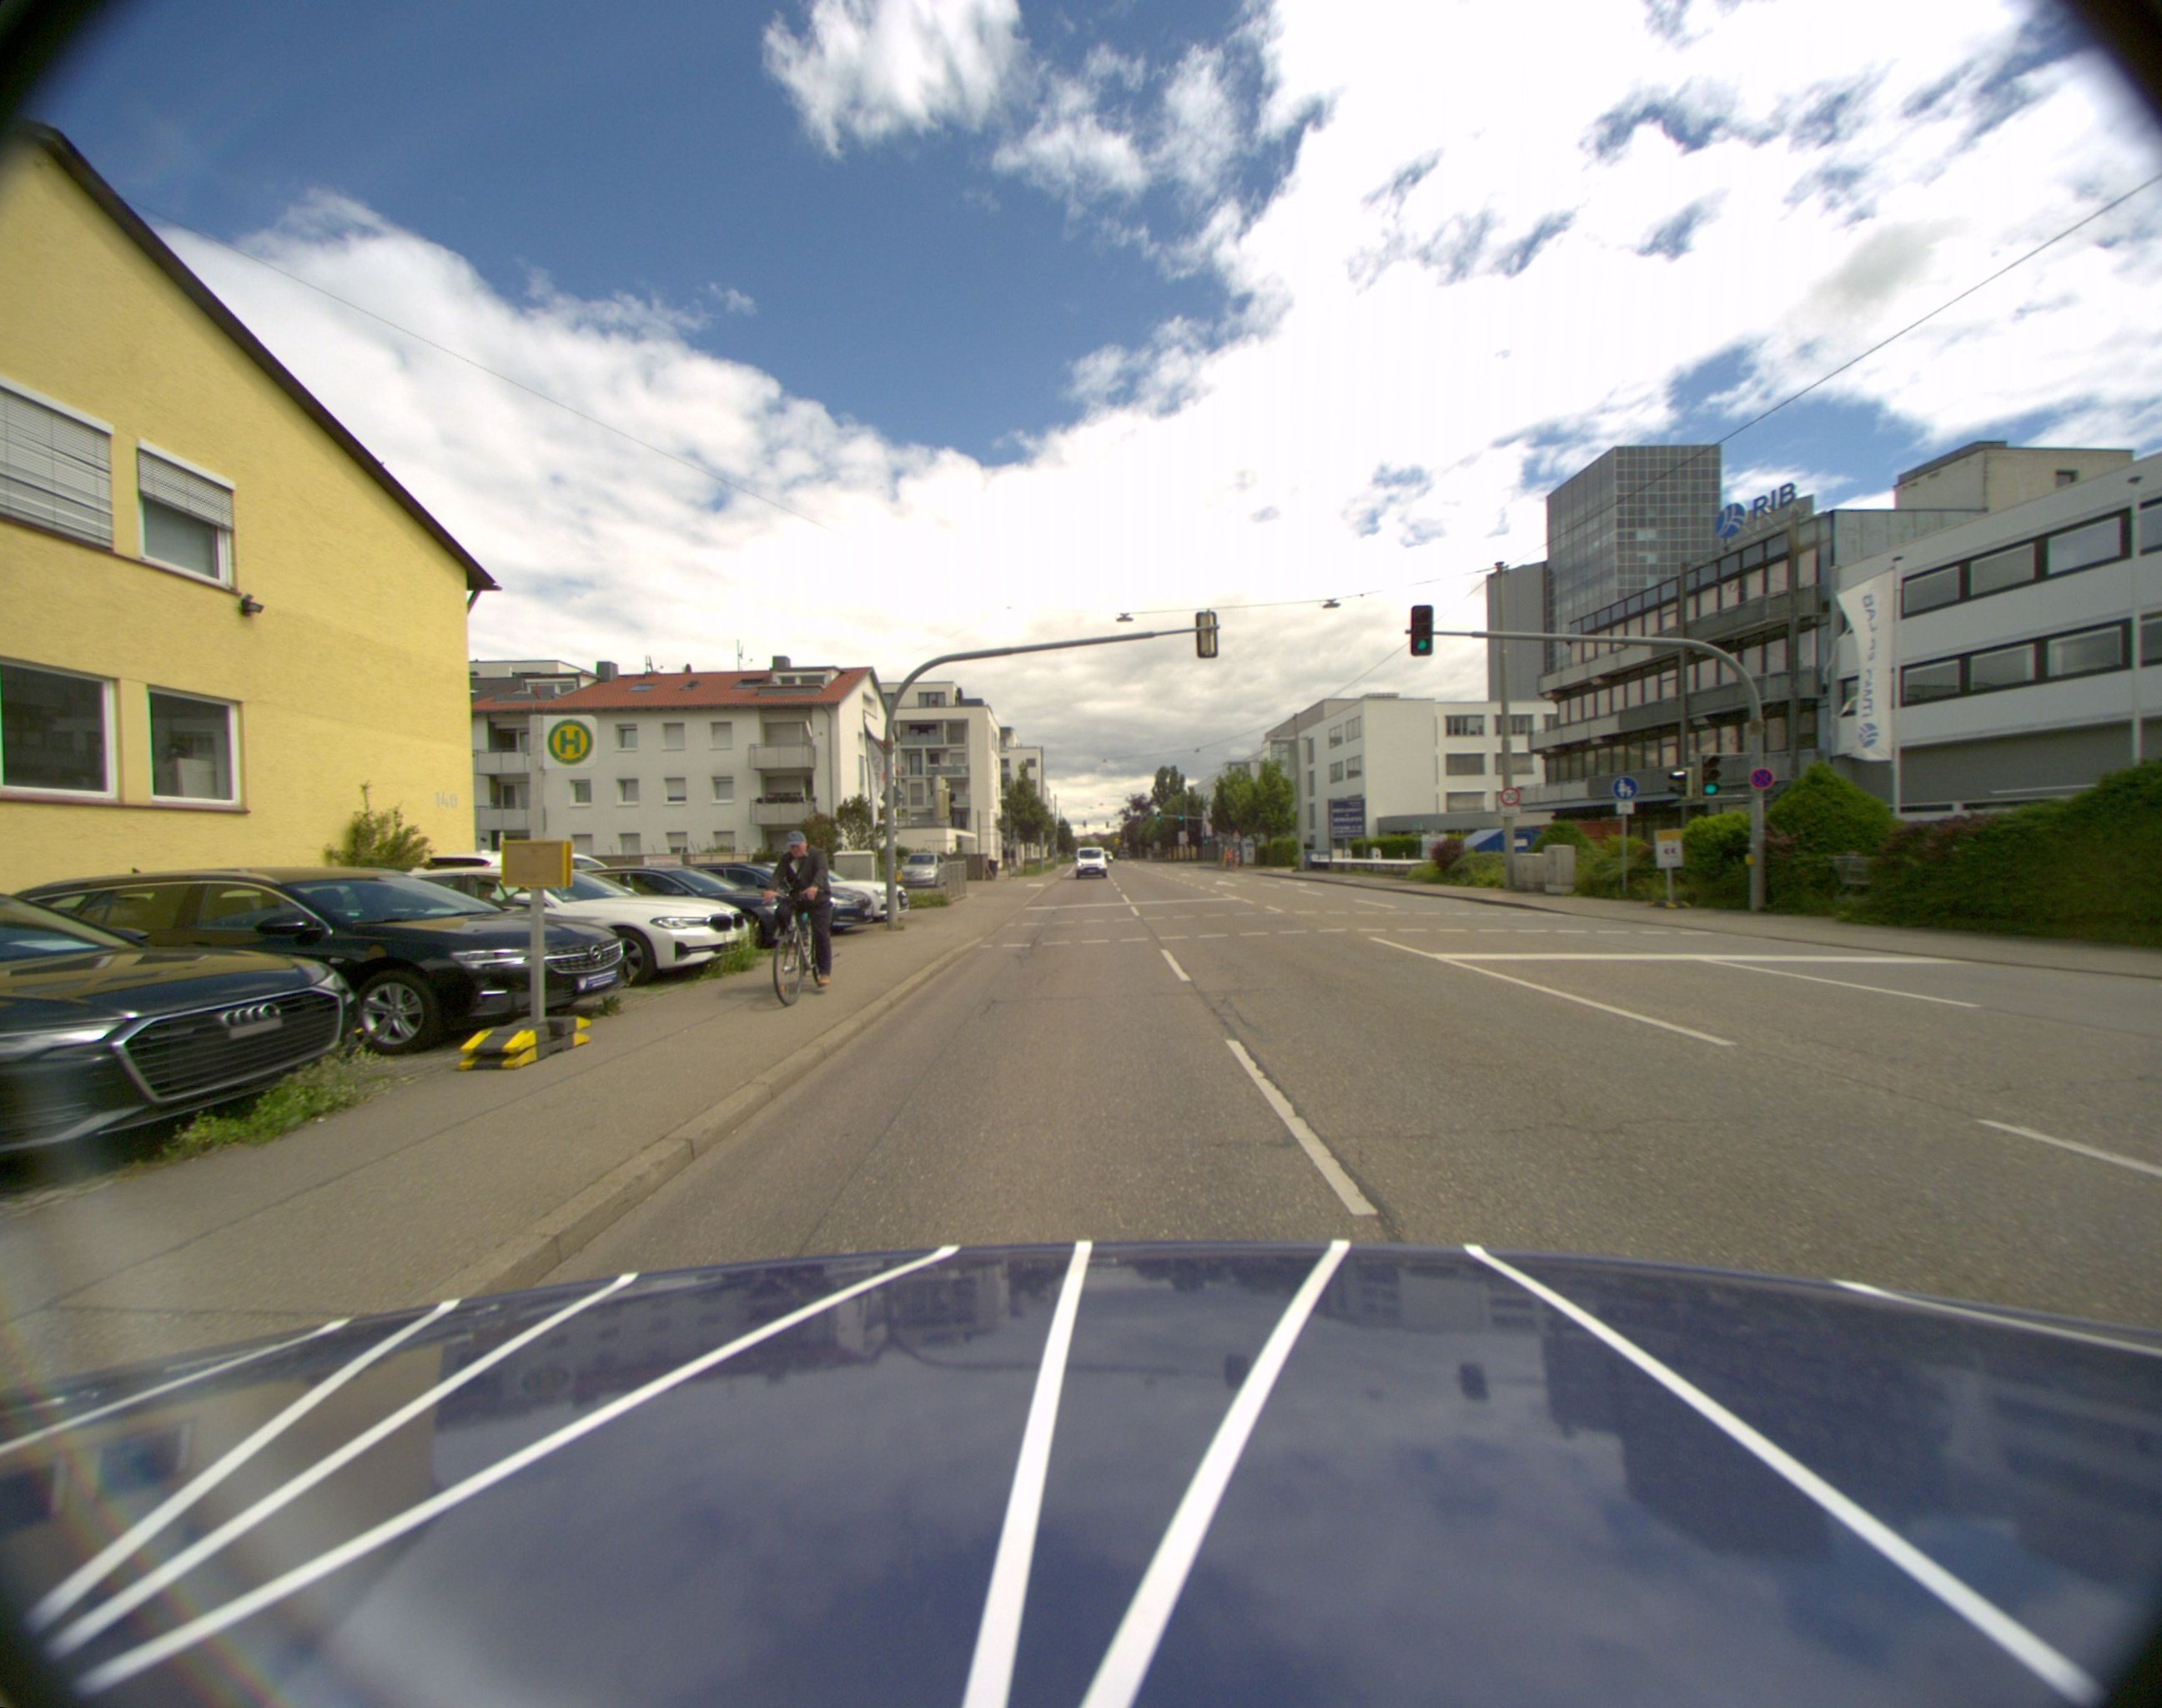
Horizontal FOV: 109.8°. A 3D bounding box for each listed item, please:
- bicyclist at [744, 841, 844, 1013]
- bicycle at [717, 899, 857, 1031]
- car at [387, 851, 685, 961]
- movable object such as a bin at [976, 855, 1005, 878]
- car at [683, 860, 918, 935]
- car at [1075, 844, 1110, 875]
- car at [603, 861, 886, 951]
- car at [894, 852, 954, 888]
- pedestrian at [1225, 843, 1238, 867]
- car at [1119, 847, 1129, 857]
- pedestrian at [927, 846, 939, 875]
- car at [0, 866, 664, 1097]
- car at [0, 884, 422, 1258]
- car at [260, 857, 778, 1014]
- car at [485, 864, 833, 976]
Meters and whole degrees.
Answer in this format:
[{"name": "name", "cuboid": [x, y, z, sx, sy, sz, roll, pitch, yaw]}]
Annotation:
[{"name": "bicyclist", "cuboid": [-2.956, 0.713, 7.900, 0.639, 1.666, 0.890, 2, 1, 1]}, {"name": "bicycle", "cuboid": [-2.976, 1.076, 7.923, 0.639, 1.057, 1.977, 2, 0, 1]}, {"name": "car", "cuboid": [-10.915, 0.912, 15.849, 1.979, 1.811, 5.033, -1, 1, 10]}, {"name": "movable object such as a bin", "cuboid": [-5.599, 0.787, 47.013, 1.320, 1.353, 1.252, -1, 2, 17]}, {"name": "car", "cuboid": [-6.444, 0.975, 17.877, 4.708, 1.484, 2.045, -2, 0, 0]}, {"name": "car", "cuboid": [0.706, 0.311, 49.772, 1.999, 1.905, 3.998, -2, 1, -2]}, {"name": "car", "cuboid": [-6.490, 0.973, 15.089, 4.671, 1.485, 2.035, -2, 0, 0]}, {"name": "car", "cuboid": [-7.166, 0.695, 35.183, 1.880, 1.536, 4.521, -1, 0, -1]}, {"name": "pedestrian", "cuboid": [13.207, 0.087, 66.510, 0.724, 2.002, 0.812, -2, 2, 43]}, {"name": "car", "cuboid": [10.448, -0.478, 185.915, 2.148, 2.457, 6.073, 0, 1, 1]}, {"name": "pedestrian", "cuboid": [-9.267, 0.385, 47.605, 0.507, 1.755, 0.501, -3, 2, 17]}, {"name": "car", "cuboid": [-6.564, 0.988, 6.609, 4.688, 1.485, 2.015, -3, 0, 2]}, {"name": "car", "cuboid": [-6.801, 1.047, 3.981, 4.864, 1.422, 2.038, -3, 0, 1]}, {"name": "car", "cuboid": [-6.585, 0.904, 9.343, 4.812, 1.471, 2.032, -3, 0, 2]}, {"name": "car", "cuboid": [-6.500, 0.974, 12.136, 4.380, 1.395, 1.988, -3, 0, -1]}]
